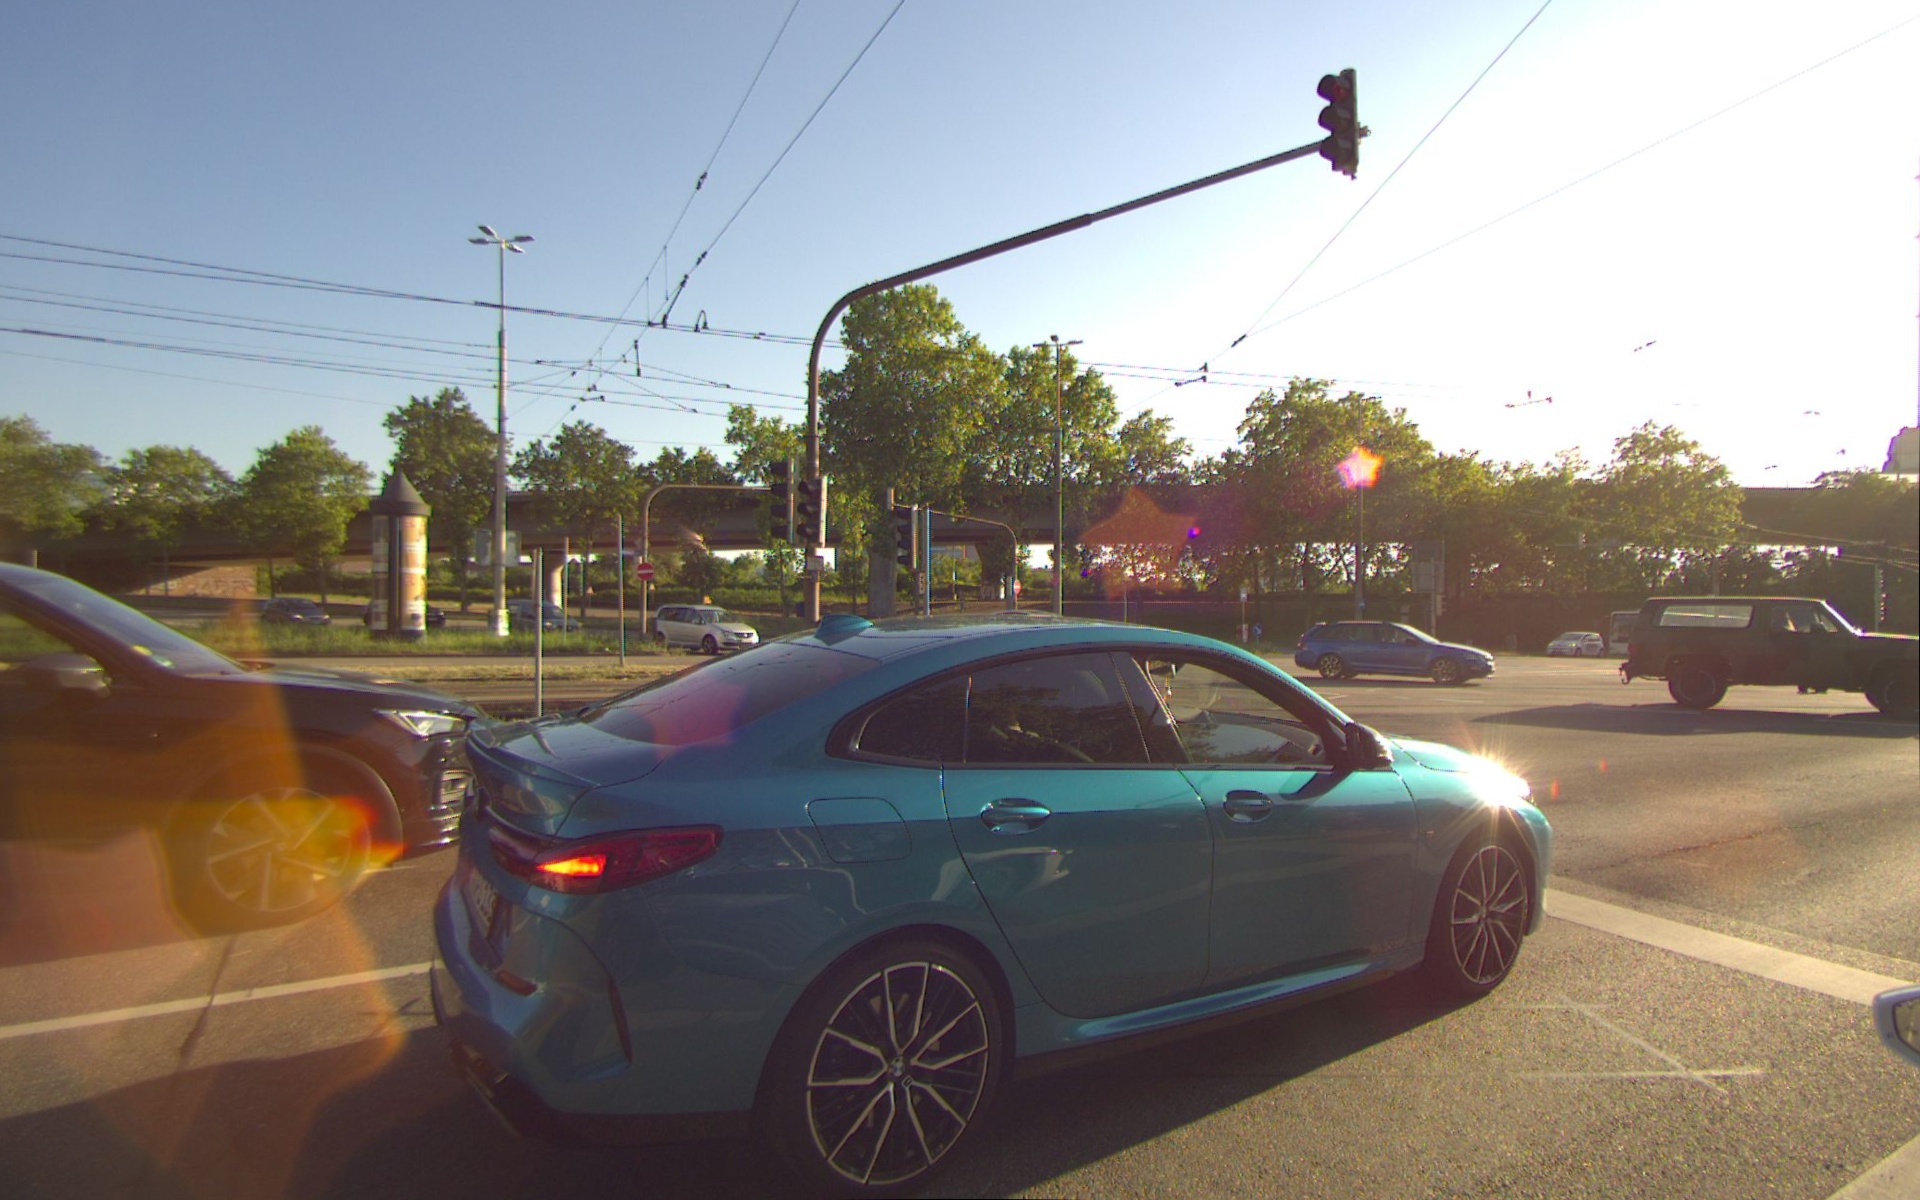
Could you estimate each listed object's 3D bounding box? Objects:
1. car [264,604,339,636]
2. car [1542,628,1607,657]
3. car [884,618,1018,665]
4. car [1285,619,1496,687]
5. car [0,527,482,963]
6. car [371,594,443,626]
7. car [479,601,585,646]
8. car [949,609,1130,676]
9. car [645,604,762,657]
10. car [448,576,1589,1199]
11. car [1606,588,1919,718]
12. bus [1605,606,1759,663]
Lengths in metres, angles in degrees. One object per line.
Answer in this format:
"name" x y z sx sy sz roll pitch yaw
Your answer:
"car" -33.643 1.015 51.273 3.867 1.546 1.719 1 0 32
"car" 35.050 2.420 57.266 3.964 1.532 1.598 2 0 -32
"car" -0.347 1.367 34.142 4.417 1.387 1.688 1 -1 35
"car" 10.653 1.256 25.016 4.554 1.478 1.687 1 -1 38
"car" -4.715 0.567 4.393 4.572 1.702 1.804 1 -1 -32
"car" -28.989 0.506 52.578 4.341 1.546 1.618 1 0 36
"car" -17.605 0.950 41.320 4.334 1.701 1.691 1 0 29
"car" 2.058 1.086 26.890 4.694 1.595 1.686 0 -1 39
"car" -8.973 1.028 34.965 4.219 1.653 1.687 1 0 37
"car" 0.474 0.747 3.822 4.162 1.485 1.704 1 -1 -33
"car" 14.241 0.830 17.464 4.868 2.017 2.029 1 -1 39
"bus" 45.552 2.233 63.165 12.756 3.171 2.534 3 -2 -28
